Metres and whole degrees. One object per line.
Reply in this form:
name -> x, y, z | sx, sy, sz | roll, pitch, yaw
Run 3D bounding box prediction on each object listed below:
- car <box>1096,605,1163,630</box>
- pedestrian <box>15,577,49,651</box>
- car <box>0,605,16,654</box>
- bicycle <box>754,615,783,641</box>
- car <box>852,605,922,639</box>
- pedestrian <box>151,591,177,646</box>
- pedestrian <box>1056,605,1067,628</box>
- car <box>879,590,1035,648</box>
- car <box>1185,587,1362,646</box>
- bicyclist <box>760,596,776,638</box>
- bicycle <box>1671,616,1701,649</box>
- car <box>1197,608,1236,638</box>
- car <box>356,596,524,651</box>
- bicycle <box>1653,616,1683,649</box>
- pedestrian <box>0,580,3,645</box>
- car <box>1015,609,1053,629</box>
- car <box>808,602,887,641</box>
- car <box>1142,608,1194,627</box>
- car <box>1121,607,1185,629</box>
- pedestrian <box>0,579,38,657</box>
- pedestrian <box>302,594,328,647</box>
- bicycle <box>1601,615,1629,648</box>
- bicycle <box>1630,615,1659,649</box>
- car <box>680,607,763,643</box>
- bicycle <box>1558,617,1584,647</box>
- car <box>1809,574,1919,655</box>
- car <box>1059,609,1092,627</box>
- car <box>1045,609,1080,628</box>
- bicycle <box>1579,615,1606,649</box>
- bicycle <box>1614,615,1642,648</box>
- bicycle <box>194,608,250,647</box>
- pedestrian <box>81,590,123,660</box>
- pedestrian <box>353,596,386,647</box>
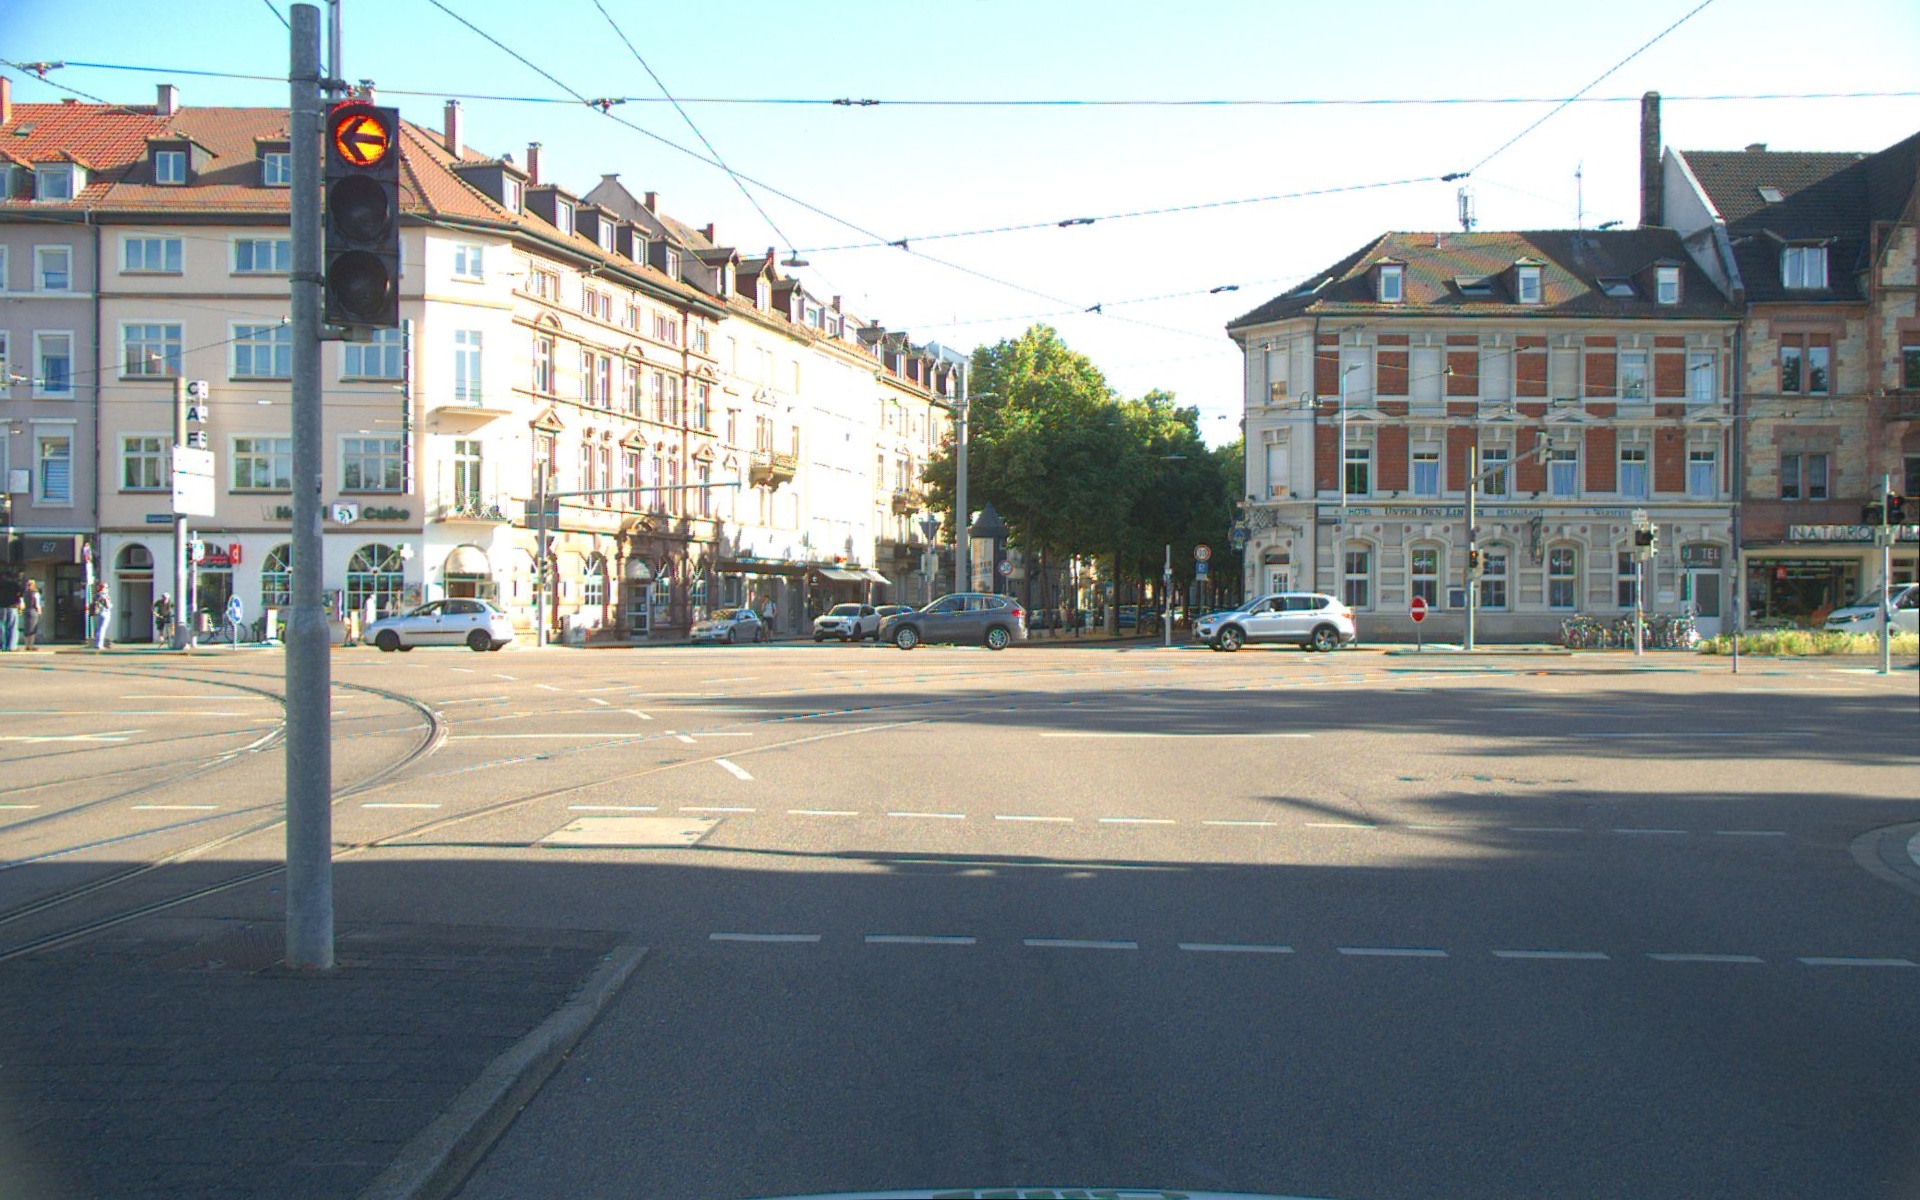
car -> 10.254, 1.039, 99.823 | 3.902, 1.480, 1.683 | 0, 0, 10
pedestrian -> -23.012, 0.338, 41.022 | 0.549, 1.817, 0.559 | 0, 0, -6
car -> -32.131, 0.901, 52.158 | 3.651, 1.517, 1.818 | 1, 0, 2
bicycle -> -7.554, 1.099, 65.168 | 0.641, 1.018, 1.666 | 1, 0, 11
car -> -3.223, 0.953, 73.579 | 1.951, 1.429, 4.172 | 0, 0, 15
pedestrian -> -24.951, 0.584, 51.836 | 0.731, 1.711, 0.623 | 0, 0, -26
pedestrian -> 6.116, 0.999, 99.772 | 0.535, 1.409, 0.626 | 0, 0, 15
car -> -0.123, 0.529, 48.255 | 4.488, 1.644, 1.999 | 0, 0, -3
car -> 9.108, 0.455, 48.237 | 4.758, 1.682, 1.999 | 0, 0, -3
bicyclist -> -7.545, 0.654, 65.068 | 0.479, 1.629, 0.667 | 0, 0, 9
bicycle -> 23.592, 1.048, 53.741 | 0.476, 1.038, 1.785 | 0, 0, 9
car -> 12.857, 1.143, 82.705 | 1.717, 1.445, 4.003 | 0, 0, 12
car -> -14.050, 0.618, 44.831 | 3.946, 1.448, 1.885 | 0, 0, -1
bicycle -> 22.907, 1.035, 53.559 | 0.476, 1.038, 1.785 | 0, 0, 9
pedestrian -> -24.295, 0.316, 41.127 | 0.685, 1.609, 0.559 | 0, 0, -6
car -> 5.482, 1.377, 122.640 | 1.951, 1.429, 4.172 | 0, 0, 15
car -> -4.528, 0.848, 67.387 | 1.951, 1.542, 4.172 | 0, 0, 15
car -> 14.051, 1.150, 111.660 | 3.360, 1.261, 1.578 | 0, 0, 10
car -> 12.322, 1.141, 105.561 | 3.902, 1.311, 1.696 | 0, 0, 10
pedestrian -> -22.895, 0.433, 40.049 | 0.751, 1.861, 0.722 | 0, 0, -1
pedestrian -> -20.814, 0.658, 53.392 | 0.731, 1.711, 0.623 | 0, 0, -26
bicycle -> 21.164, 1.005, 53.483 | 0.476, 1.038, 1.785 | 0, 0, 9
bicycle -> 22.112, 1.021, 53.479 | 0.476, 1.038, 1.785 | 0, 0, 9
car -> -9.597, 0.986, 66.882 | 1.951, 1.385, 3.821 | 0, 0, 15
bicycle -> 19.806, 1.019, 53.651 | 0.476, 0.930, 1.785 | 0, 0, 9
car -> 24.896, 0.357, 42.760 | 4.879, 2.049, 2.000 | 0, 0, -1
car -> 9.579, 1.479, 136.725 | 1.951, 1.429, 4.172 | 0, 0, 15
car -> 8.149, 1.432, 131.507 | 1.951, 1.429, 4.172 | 0, 0, 15
bicycle -> 20.475, 1.026, 53.574 | 0.476, 1.038, 1.785 | 0, 0, 9
bicycle -> 21.614, 1.013, 53.550 | 0.476, 1.038, 1.785 | 0, 0, 9
bicycle -> -25.085, 0.925, 56.222 | 1.684, 1.299, 0.385 | 0, 0, -18
pedestrian -> -21.287, 0.611, 41.052 | 0.725, 1.711, 0.628 | 0, 0, -1
pedestrian -> -19.785, 0.711, 55.440 | 0.891, 1.711, 0.742 | 0, 0, -7
